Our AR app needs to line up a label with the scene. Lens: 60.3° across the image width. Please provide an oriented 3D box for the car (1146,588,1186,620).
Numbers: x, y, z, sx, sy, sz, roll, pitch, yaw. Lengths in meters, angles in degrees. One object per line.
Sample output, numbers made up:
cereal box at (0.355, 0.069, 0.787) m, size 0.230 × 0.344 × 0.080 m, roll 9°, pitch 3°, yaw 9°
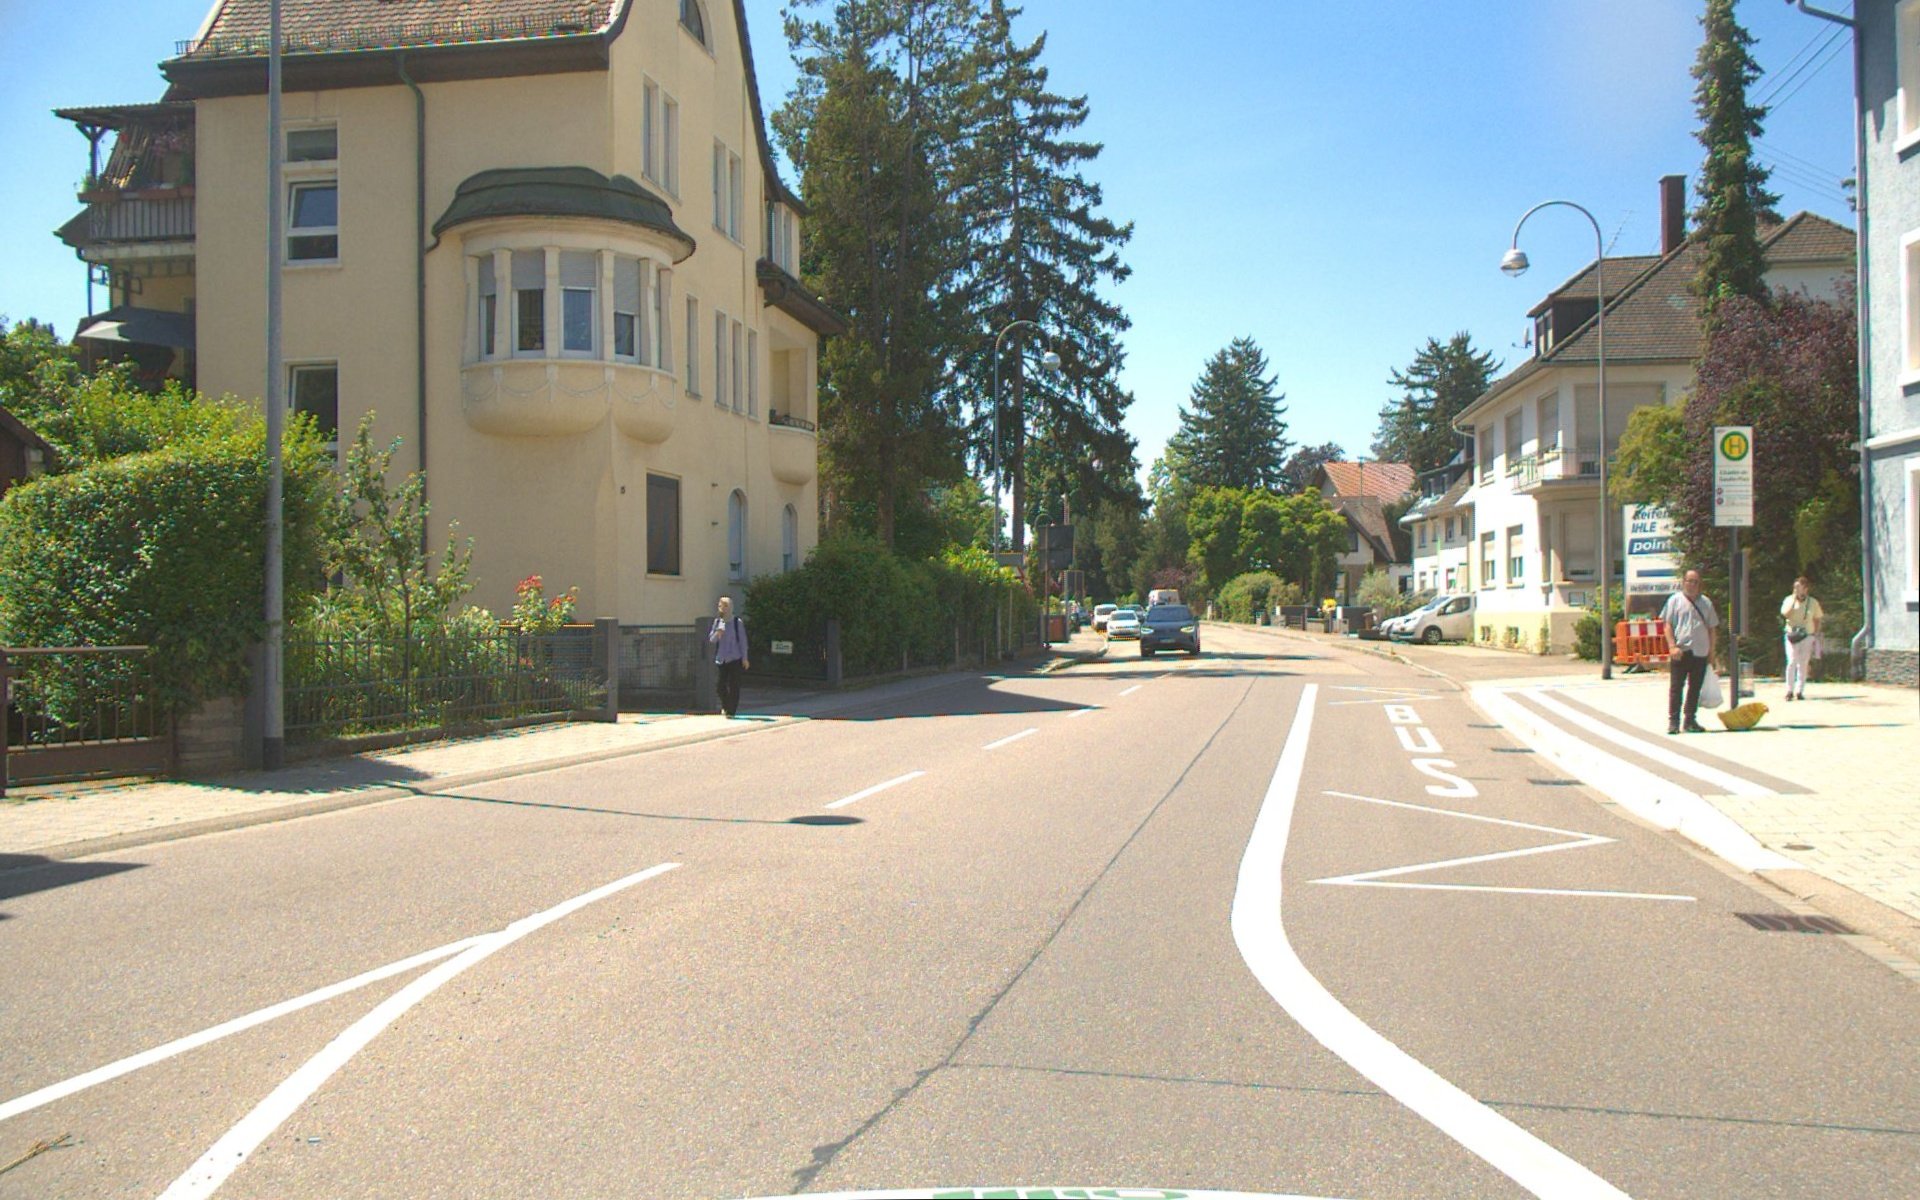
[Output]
car at (15.848, 0.282, 127.443) m, size 2.101 × 2.356 × 4.849 m, roll -2°, pitch 1°, yaw -3°

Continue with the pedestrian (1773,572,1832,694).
pedestrian at (11.771, 0.454, 23.129) m, size 0.601 × 1.644 × 0.750 m, roll -3°, pitch -1°, yaw 23°

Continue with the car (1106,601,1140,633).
car at (8.148, 0.821, 82.751) m, size 1.545 × 1.448 × 3.943 m, roll -3°, pitch 0°, yaw 4°

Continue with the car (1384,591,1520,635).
car at (18.234, 0.466, 61.455) m, size 4.541 × 1.433 × 1.770 m, roll 2°, pitch 1°, yaw 7°

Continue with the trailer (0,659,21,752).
trailer at (-10.906, 1.104, 17.625) m, size 1.343 × 0.875 × 2.783 m, roll 0°, pitch -1°, yaw -35°

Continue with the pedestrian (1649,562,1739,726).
pedestrian at (8.577, 0.510, 19.358) m, size 0.601 × 1.836 × 0.750 m, roll -4°, pitch -1°, yaw 2°

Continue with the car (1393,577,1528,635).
car at (17.741, 0.188, 58.777) m, size 4.204 × 1.862 × 1.739 m, roll 2°, pitch 0°, yaw -2°

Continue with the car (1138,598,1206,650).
car at (7.007, 0.747, 54.431) m, size 1.814 × 1.645 × 4.300 m, roll 0°, pitch 0°, yaw 13°

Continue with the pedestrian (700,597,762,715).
pedestrian at (-3.142, 0.753, 22.720) m, size 0.600 × 1.592 × 0.825 m, roll 0°, pitch 0°, yaw 10°

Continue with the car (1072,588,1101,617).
car at (8.452, 0.161, 110.948) m, size 1.687 × 1.766 × 3.888 m, roll -3°, pitch 0°, yaw 2°
